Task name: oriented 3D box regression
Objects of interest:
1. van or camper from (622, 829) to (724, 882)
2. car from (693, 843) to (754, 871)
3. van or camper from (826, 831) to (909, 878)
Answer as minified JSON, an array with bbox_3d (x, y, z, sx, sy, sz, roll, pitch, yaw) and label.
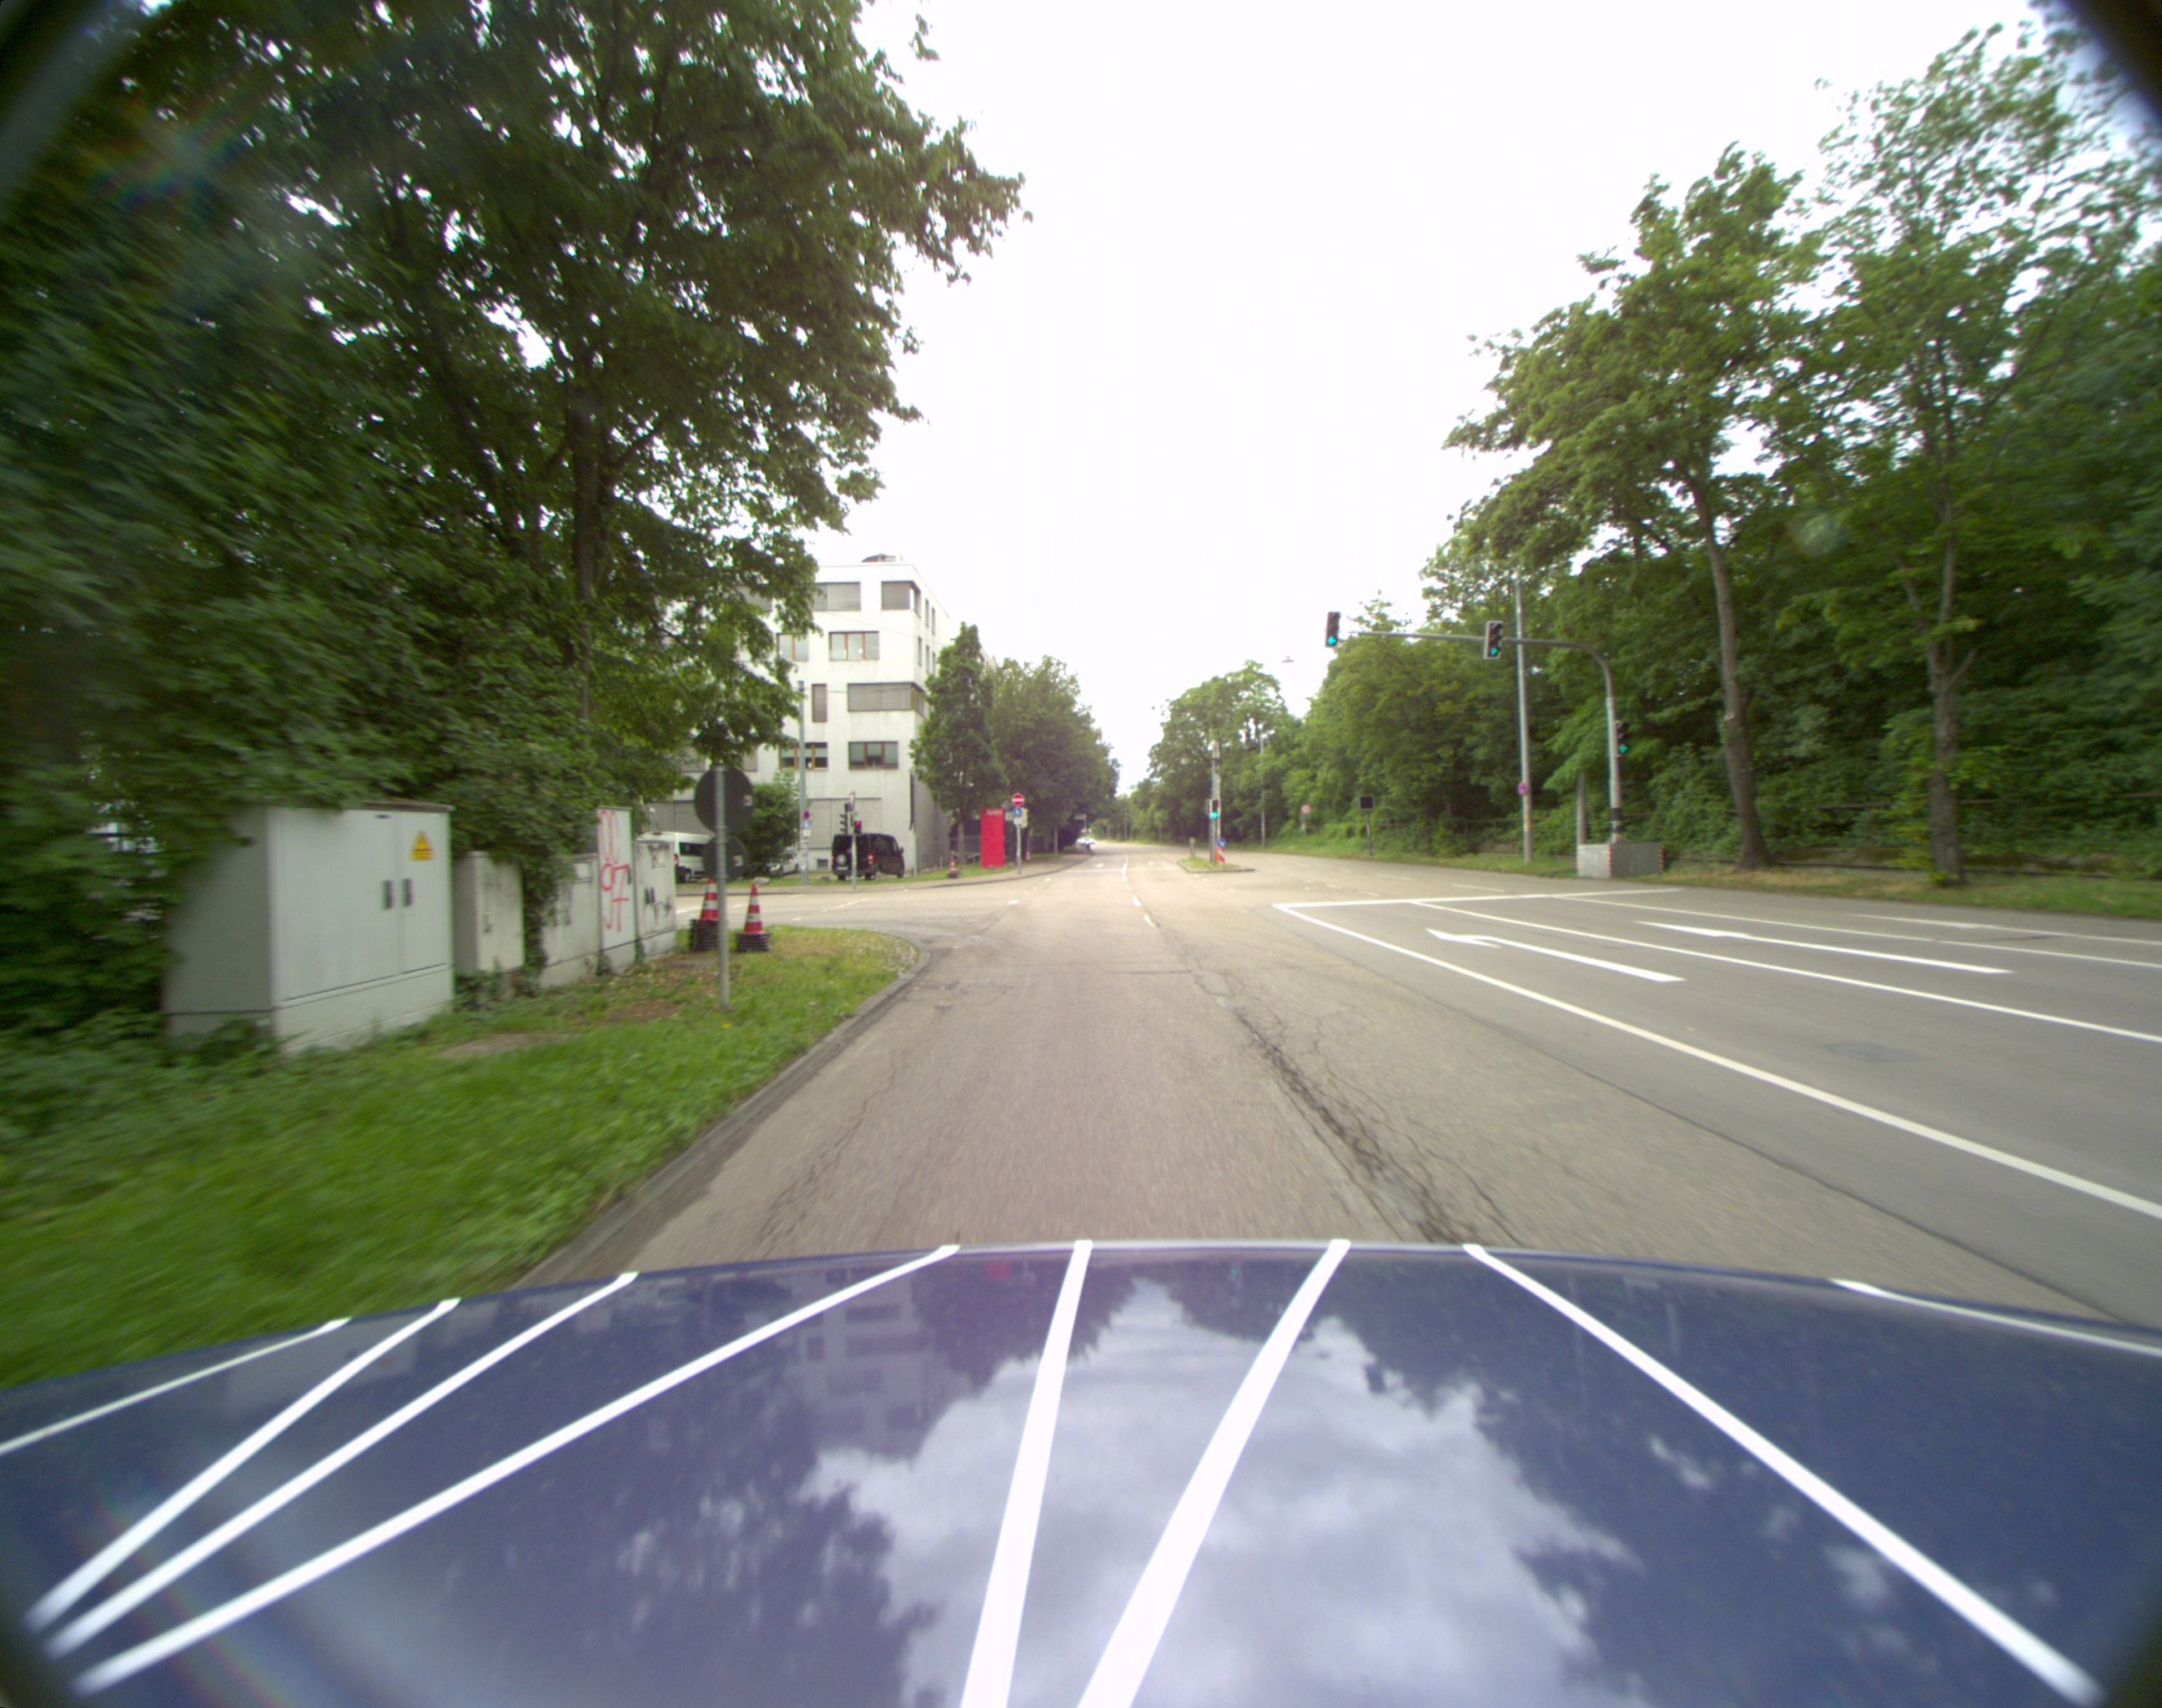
[{"bbox_3d":[-20.033,0.048,37.666,2.155,2.409,5.185,-1,1,1],"label":"van or camper"},{"bbox_3d":[-22.523,0.154,48.066,1.842,1.521,4.080,-1,3,1],"label":"car"},{"bbox_3d":[-10.373,0.065,37.458,2.168,2.097,5.646,-1,0,3],"label":"van or camper"}]
